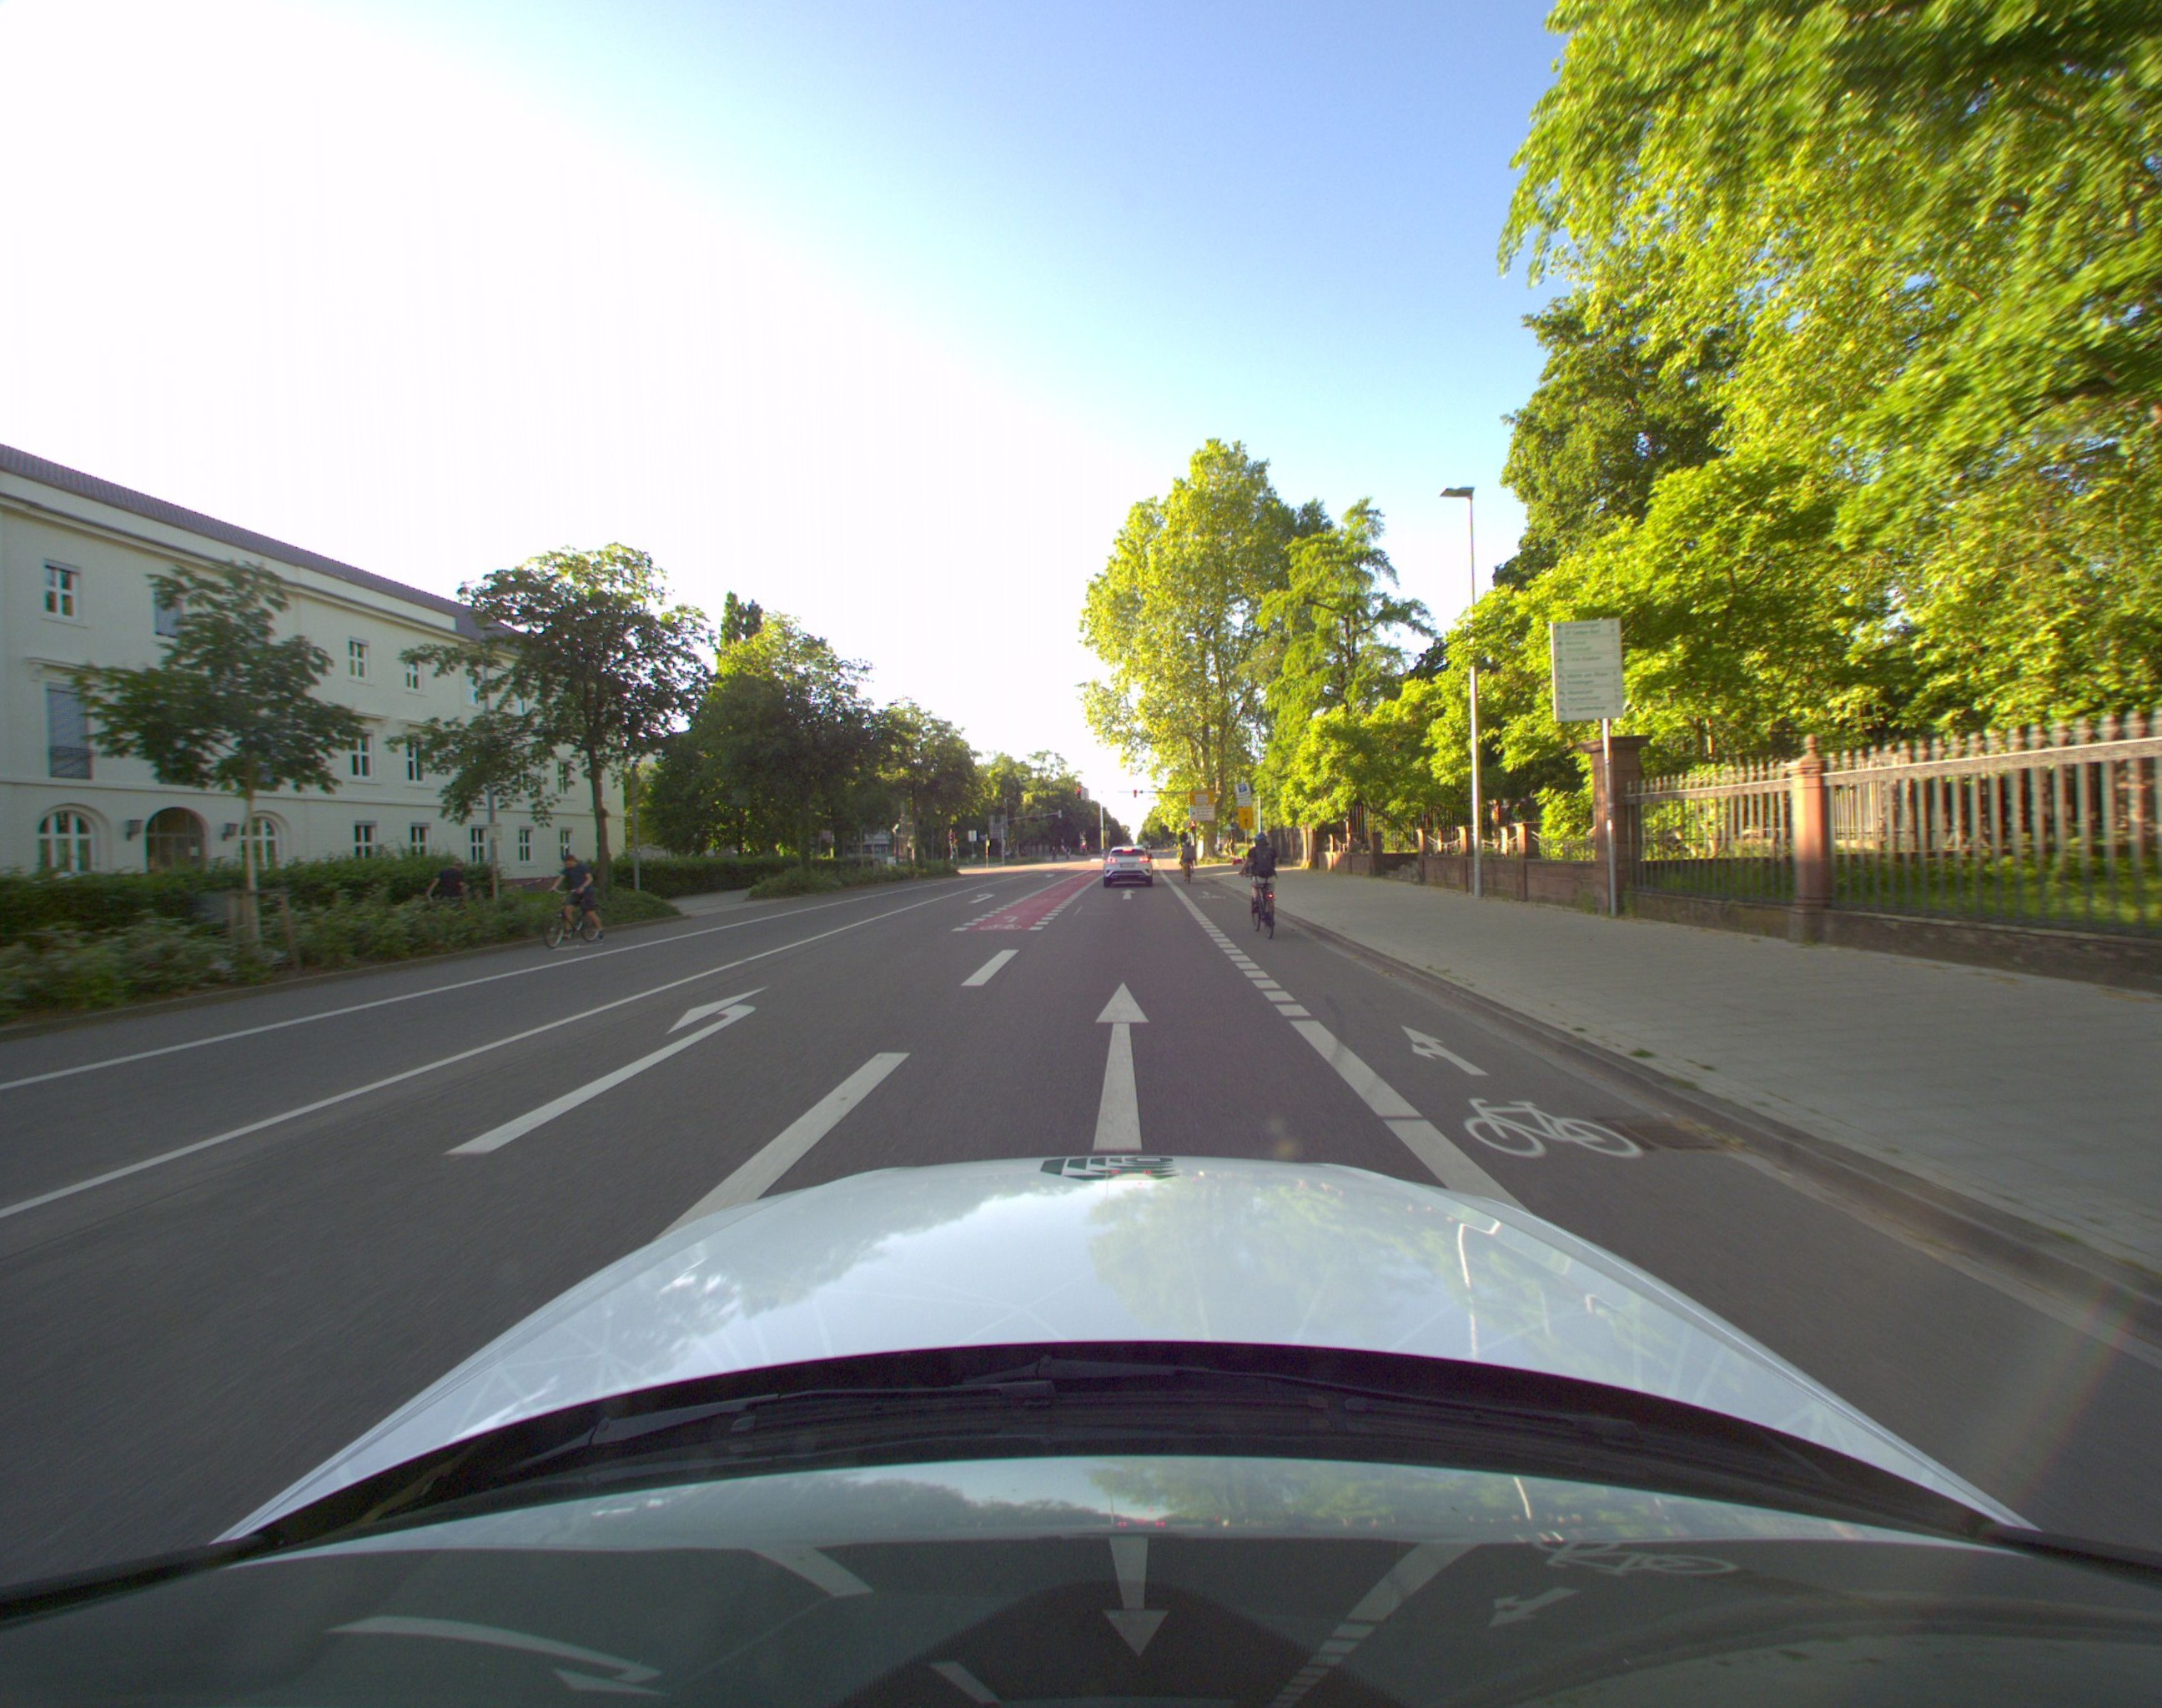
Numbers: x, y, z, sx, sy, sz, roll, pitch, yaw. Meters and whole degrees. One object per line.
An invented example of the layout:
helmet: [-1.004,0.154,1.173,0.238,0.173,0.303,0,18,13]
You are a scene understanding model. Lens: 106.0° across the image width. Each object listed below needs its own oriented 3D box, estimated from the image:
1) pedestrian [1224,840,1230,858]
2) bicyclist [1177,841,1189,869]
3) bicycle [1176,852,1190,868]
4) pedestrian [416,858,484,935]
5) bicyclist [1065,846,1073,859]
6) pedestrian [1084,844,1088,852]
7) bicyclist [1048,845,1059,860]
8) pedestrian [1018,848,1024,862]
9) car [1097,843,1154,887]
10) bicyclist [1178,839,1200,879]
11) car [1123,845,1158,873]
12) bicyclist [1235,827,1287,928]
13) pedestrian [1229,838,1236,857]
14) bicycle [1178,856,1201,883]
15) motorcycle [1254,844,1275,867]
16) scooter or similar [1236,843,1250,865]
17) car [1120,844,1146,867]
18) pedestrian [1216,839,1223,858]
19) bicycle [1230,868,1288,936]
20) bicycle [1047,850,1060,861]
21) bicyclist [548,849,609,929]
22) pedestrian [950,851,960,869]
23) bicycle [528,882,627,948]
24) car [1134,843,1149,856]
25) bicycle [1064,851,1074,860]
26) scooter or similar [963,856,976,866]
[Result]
pedestrian: [14.166,-0.491,78.929,0.479,1.640,0.433,-5,3,10]
bicyclist: [6.651,0.064,53.146,0.746,1.750,0.844,-1,0,3]
bicycle: [6.666,0.402,53.115,0.750,1.026,1.871,-1,0,3]
pedestrian: [-16.030,1.060,20.710,0.852,1.851,1.002,-3,0,2]
bicyclist: [-1.627,-0.251,111.611,0.951,1.705,1.234,-3,0,5]
pedestrian: [1.357,-1.647,226.386,0.869,2.149,1.107,-3,0,13]
bicyclist: [-3.347,-0.222,98.428,1.087,1.754,1.099,-3,0,5]
pedestrian: [-8.563,0.159,117.097,0.648,1.888,0.664,-3,0,6]
car: [1.740,0.381,31.268,1.985,1.453,4.004,-3,0,4]
bicyclist: [4.253,0.197,32.216,0.744,1.537,0.970,-2,0,3]
car: [3.486,0.272,48.172,1.921,1.533,4.004,-3,0,3]
bicyclist: [3.019,0.372,13.752,0.633,1.614,1.285,-1,0,3]
pedestrian: [14.798,-0.620,79.490,0.479,1.792,0.433,-5,3,10]
bicycle: [4.258,0.607,32.133,0.750,1.026,1.871,-1,0,3]
motorcycle: [10.201,0.073,45.286,0.659,1.167,2.330,-5,0,4]
scooter or similar: [10.366,-0.019,52.070,0.564,1.382,1.857,-3,0,2]
car: [3.894,0.109,61.102,1.763,1.591,4.004,-3,0,3]
pedestrian: [13.441,-0.504,78.843,0.479,1.792,0.433,-5,3,10]
bicycle: [3.037,0.784,14.058,0.640,1.024,2.215,-1,0,4]
bicycle: [-3.342,0.154,98.417,1.096,1.255,2.784,-3,0,6]
bicyclist: [-10.152,0.696,16.482,0.627,1.522,0.725,-5,1,1]
pedestrian: [-13.304,0.617,85.827,0.684,1.792,0.770,-5,1,3]
bicycle: [-10.100,1.191,16.422,0.594,1.120,2.027,-6,0,1]
car: [8.103,-0.592,108.844,1.727,1.546,4.009,-2,1,8]
bicycle: [-1.619,0.208,111.548,0.959,1.180,2.956,-3,0,6]
scooter or similar: [-12.976,0.835,94.797,0.506,1.144,1.710,-3,0,25]
